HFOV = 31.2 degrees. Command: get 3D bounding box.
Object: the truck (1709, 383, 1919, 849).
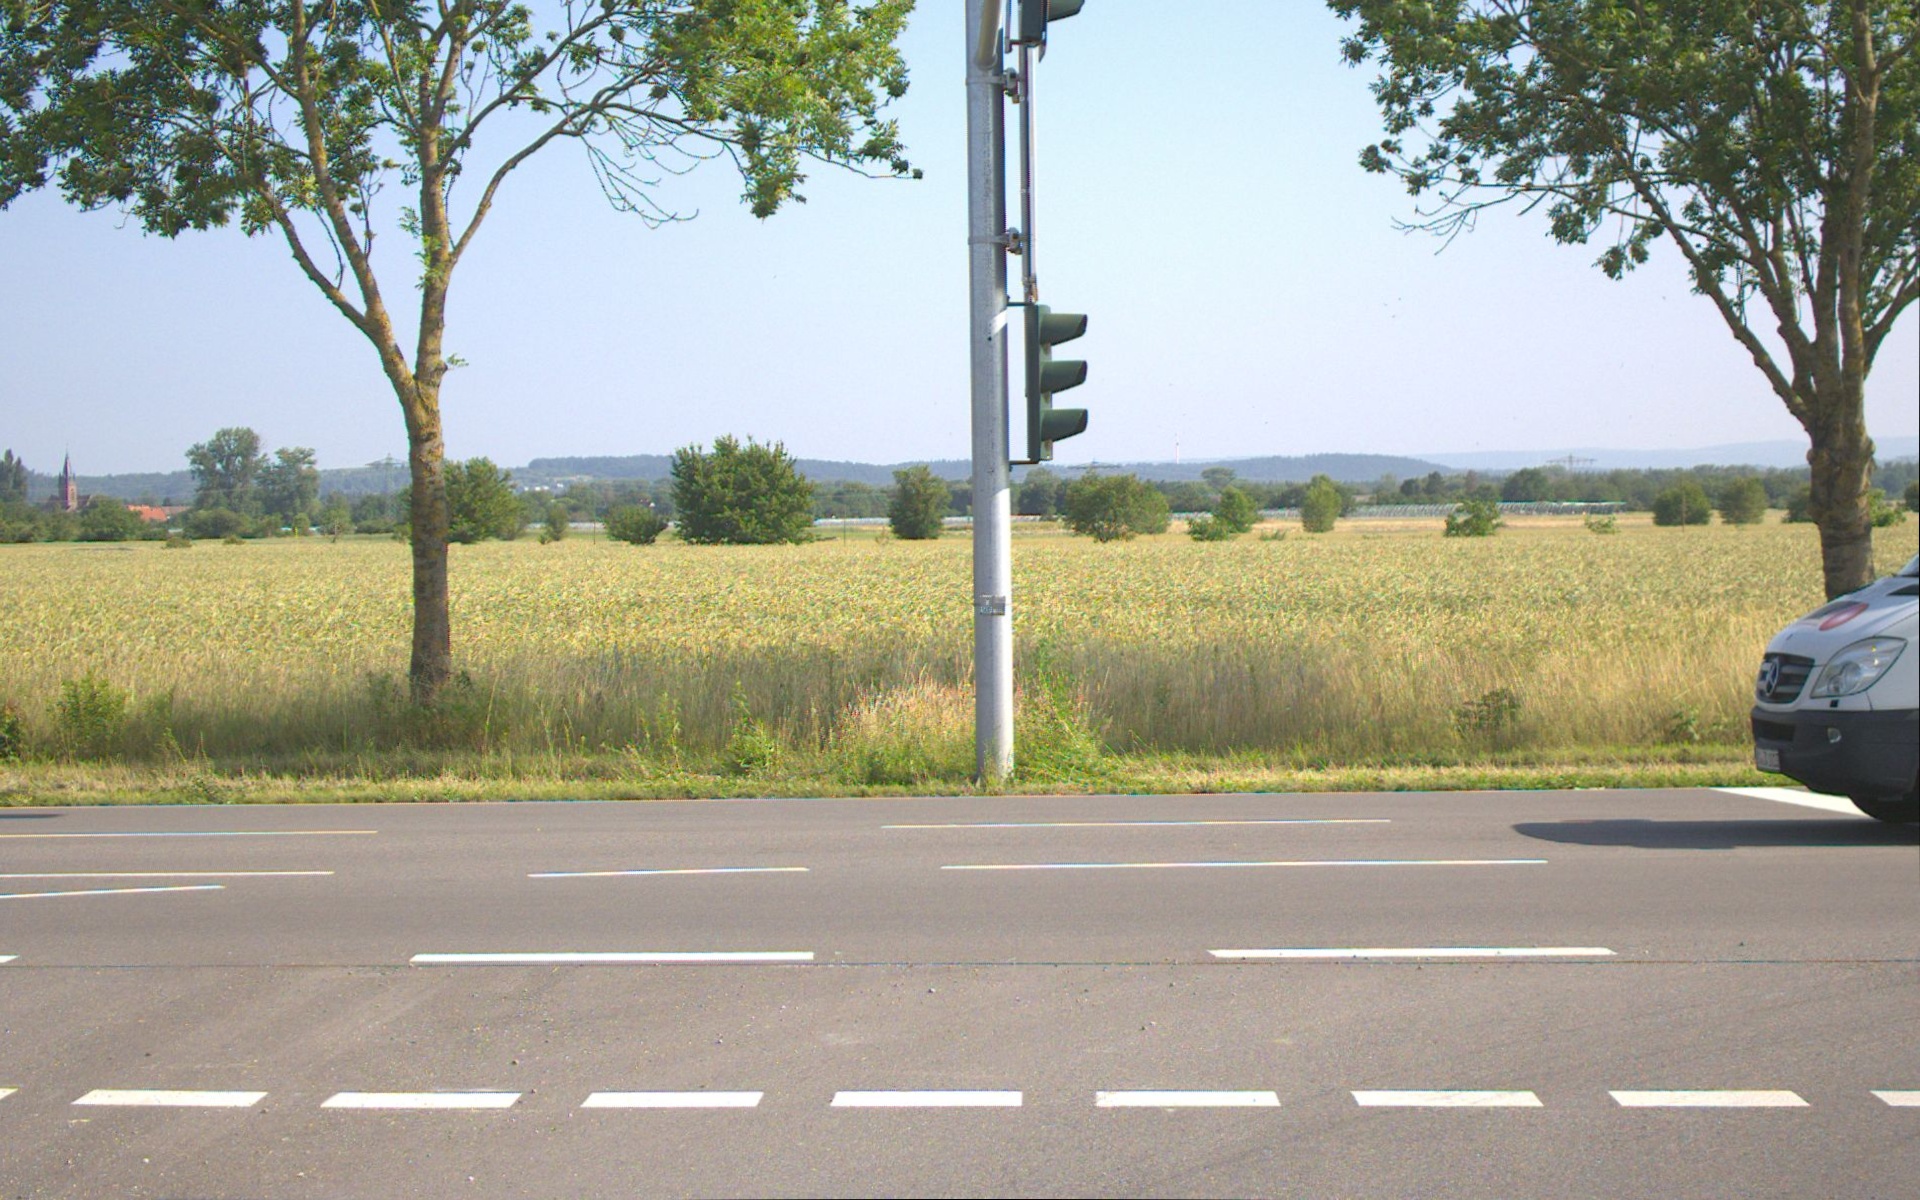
[{"bbox_3d":[7.421,0.053,18.782,6.178,2.396,2.071,-1,0,-1],"label":"truck"}]
